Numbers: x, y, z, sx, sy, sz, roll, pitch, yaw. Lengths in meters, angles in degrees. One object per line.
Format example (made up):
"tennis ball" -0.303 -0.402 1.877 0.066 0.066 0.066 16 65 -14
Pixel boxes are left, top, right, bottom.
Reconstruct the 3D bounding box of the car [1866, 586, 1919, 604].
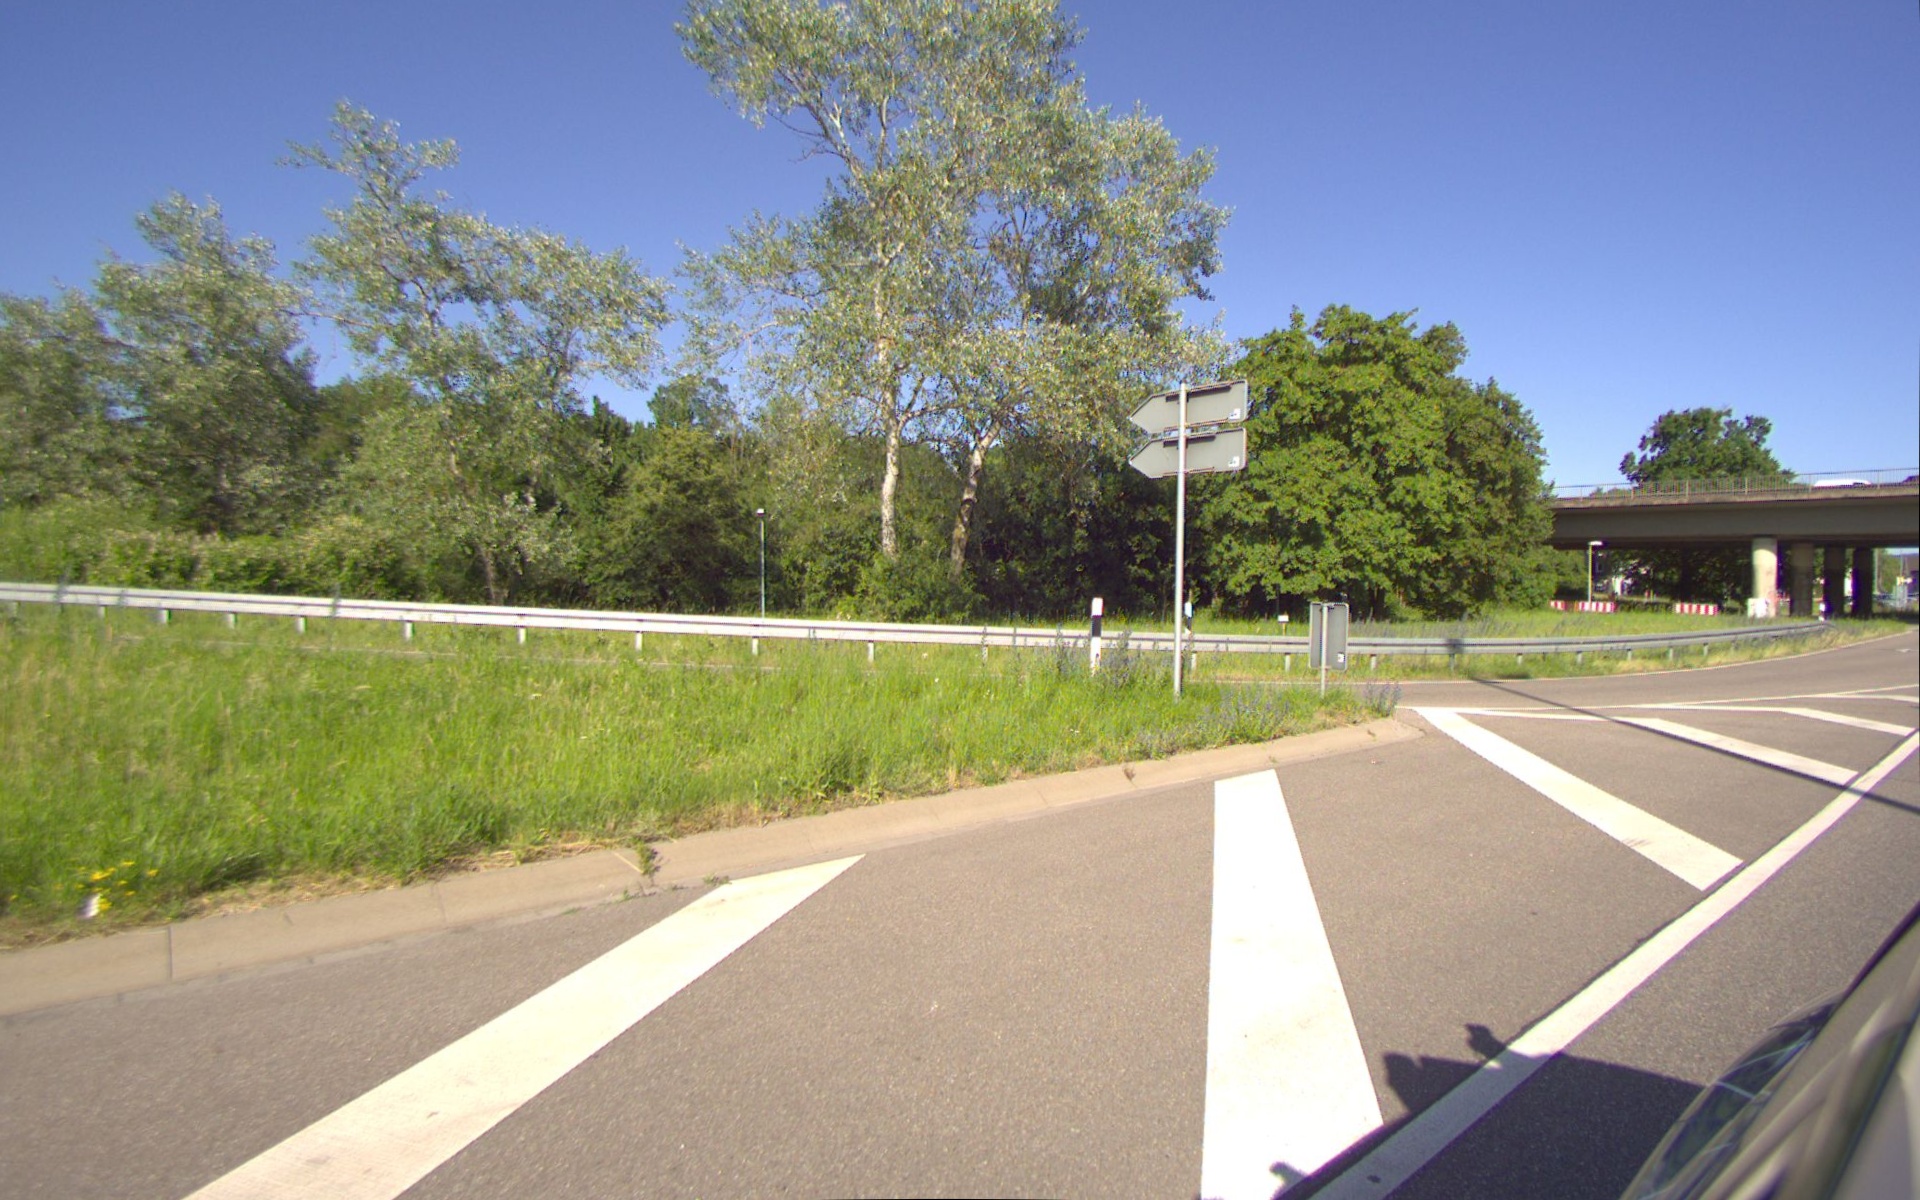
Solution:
"car" 84.186 -0.482 90.979 1.794 1.556 4.042 0 1 0
